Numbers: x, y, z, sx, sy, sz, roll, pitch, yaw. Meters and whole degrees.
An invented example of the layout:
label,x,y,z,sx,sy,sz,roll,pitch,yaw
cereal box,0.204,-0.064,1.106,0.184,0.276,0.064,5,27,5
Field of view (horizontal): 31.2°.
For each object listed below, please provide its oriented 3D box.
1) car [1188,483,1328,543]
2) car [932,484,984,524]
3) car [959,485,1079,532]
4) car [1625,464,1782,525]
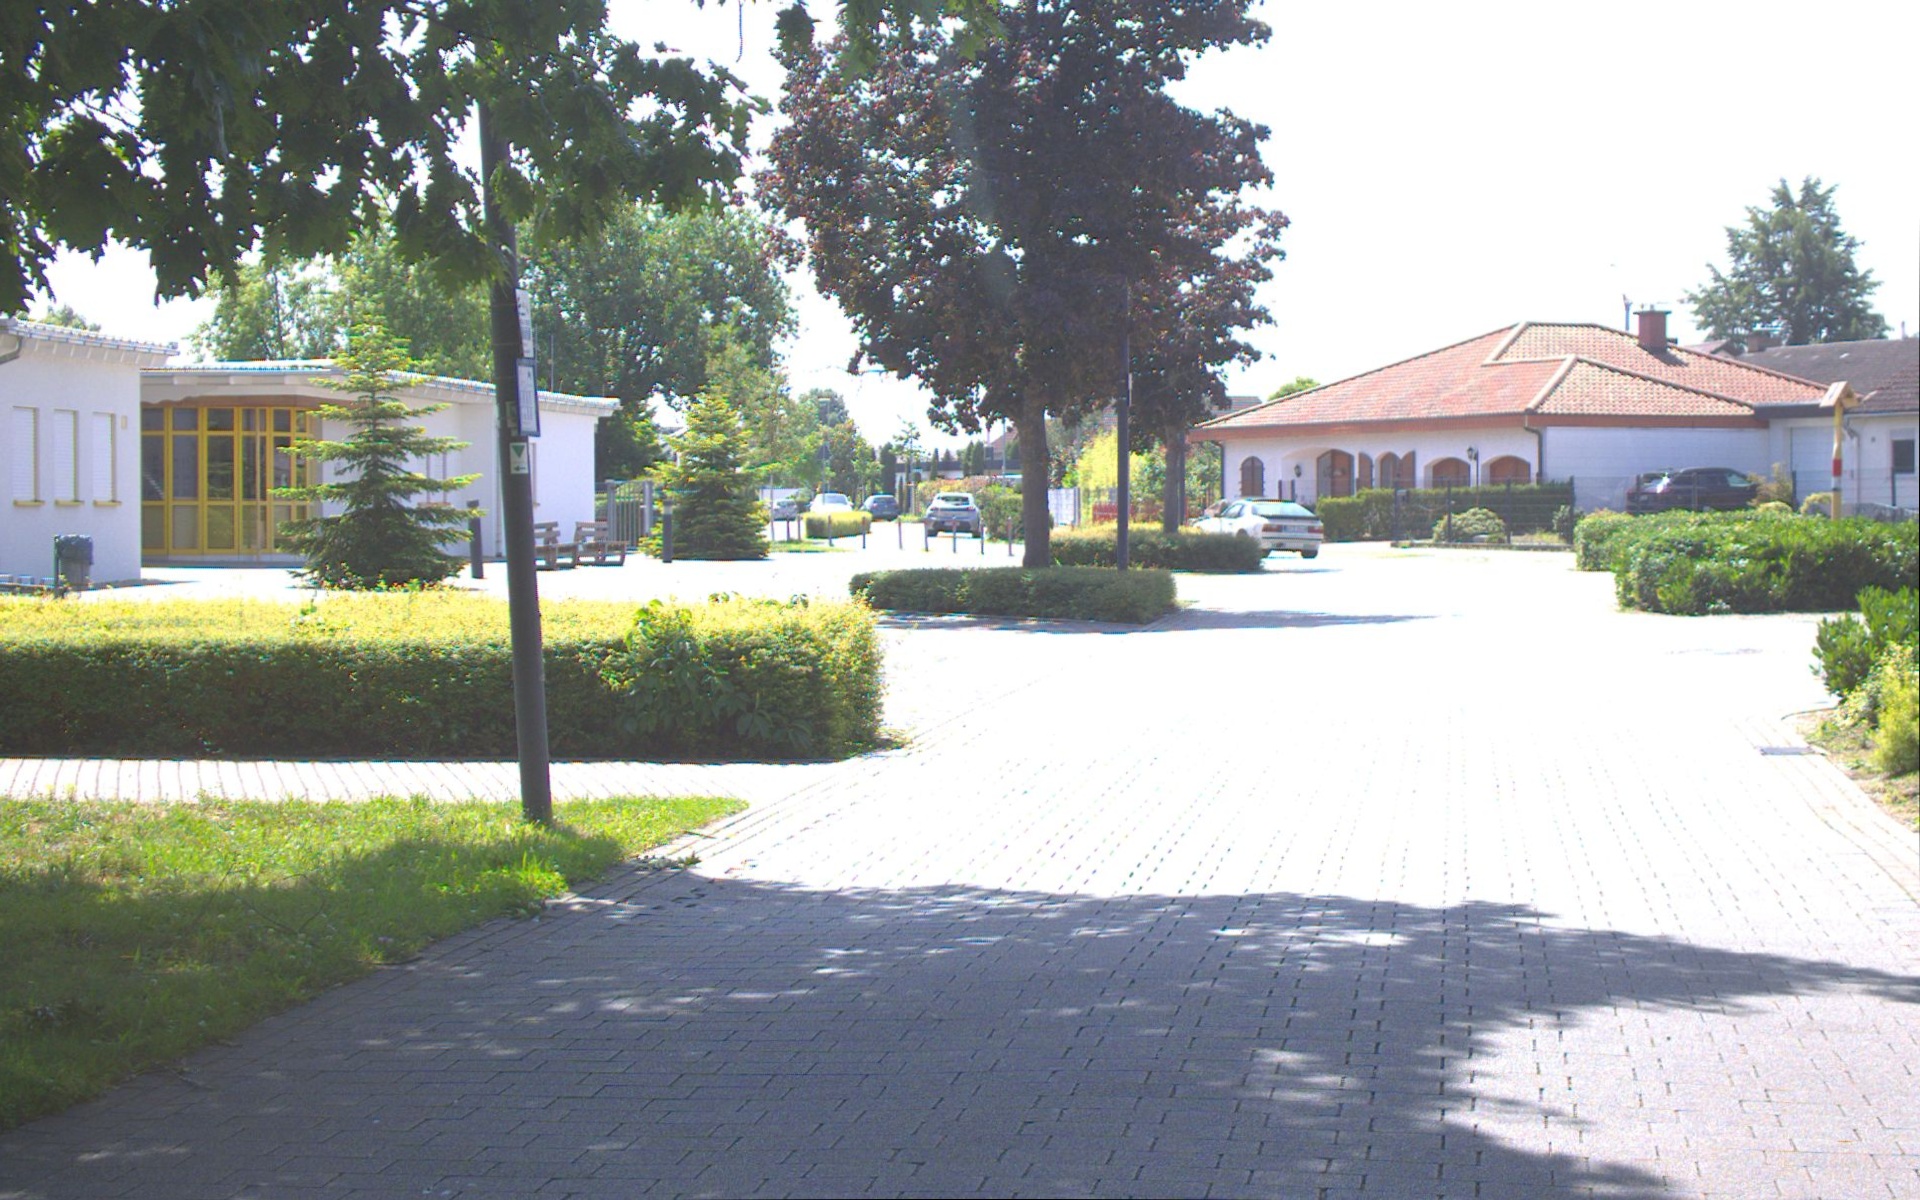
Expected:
label,x,y,z,sx,sy,sz,roll,pitch,yaw
car,6.497,-1.924,75.245,1.614,1.284,3.558,-1,2,-22
car,-0.064,-3.109,111.249,1.614,1.284,3.557,0,2,-1
car,1.634,-2.601,97.385,1.993,1.283,4.001,-1,2,-22
car,19.166,-2.726,88.563,3.824,1.537,1.854,-1,2,-35
